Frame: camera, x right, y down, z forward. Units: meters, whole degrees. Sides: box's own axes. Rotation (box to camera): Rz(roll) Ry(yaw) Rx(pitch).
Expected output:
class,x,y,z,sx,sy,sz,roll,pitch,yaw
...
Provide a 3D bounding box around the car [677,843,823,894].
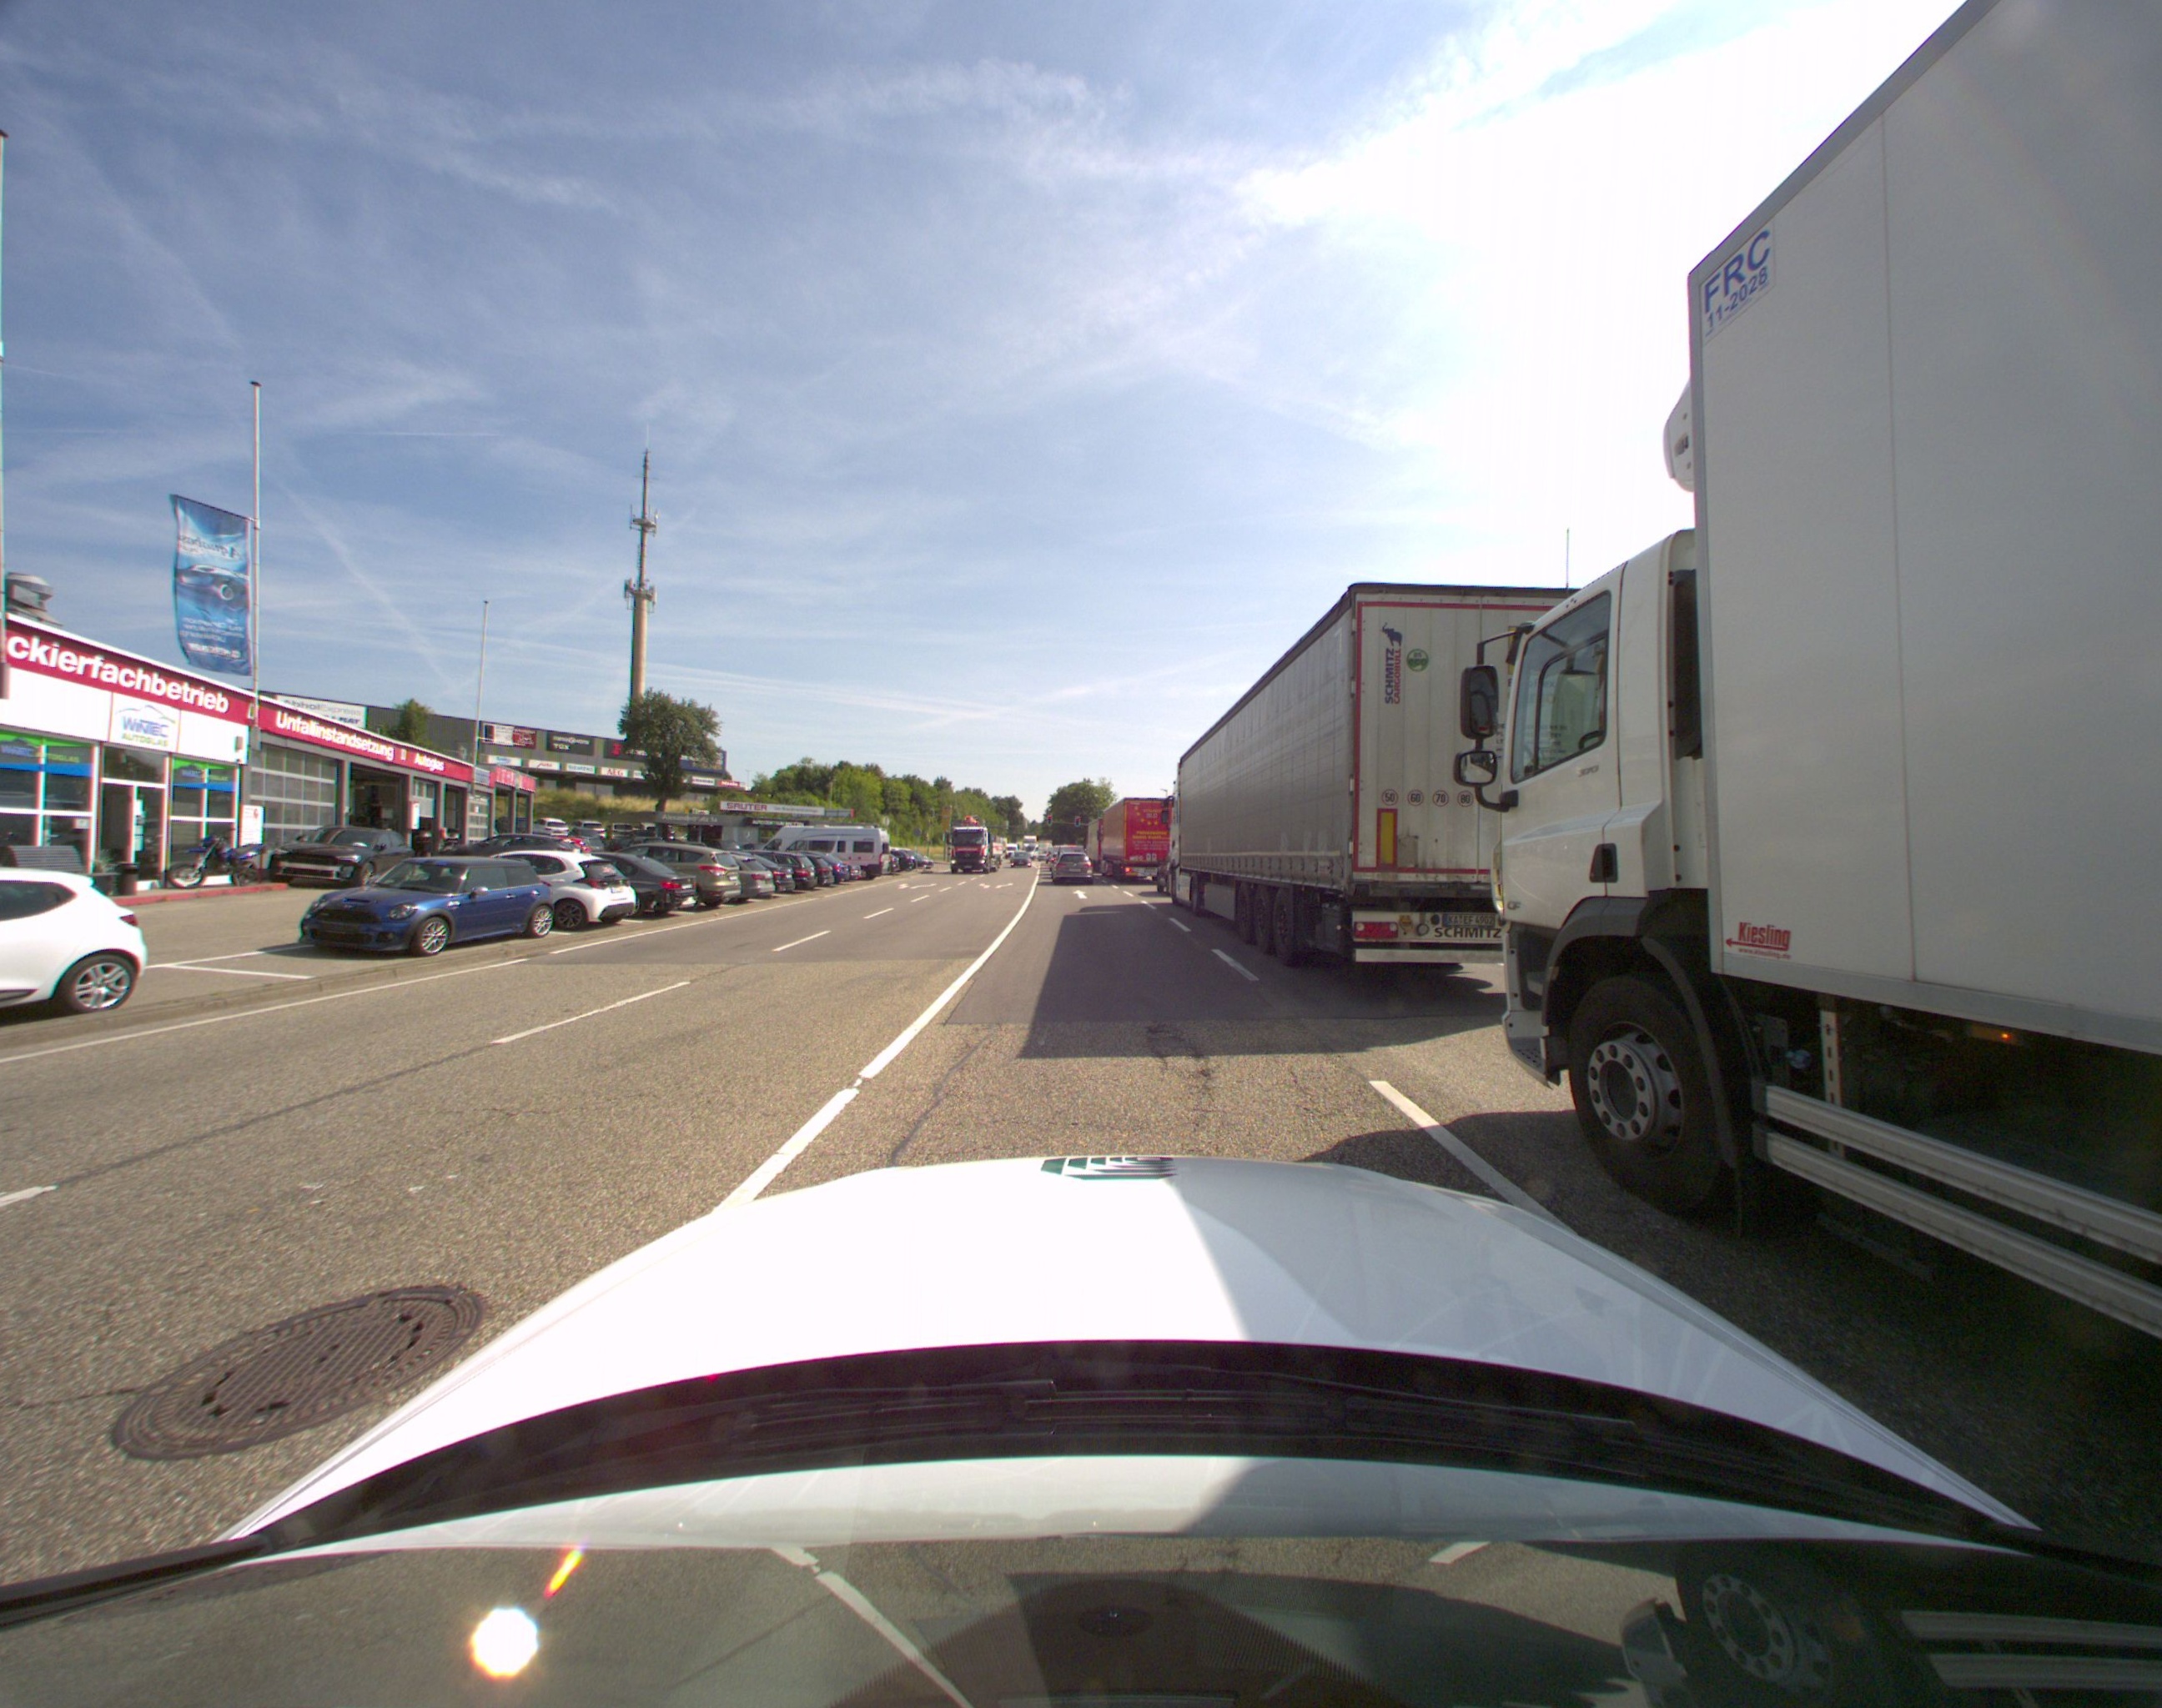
class,x,y,z,sx,sy,sz,roll,pitch,yaw
car,-11.941,0.524,29.596,4.450,1.484,1.769,4,0,-4

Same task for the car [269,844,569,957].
class,x,y,z,sx,sy,sz,roll,pitch,yaw
car,-10.685,0.670,13.571,1.773,1.494,3.781,4,0,0

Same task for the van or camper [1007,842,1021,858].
class,x,y,z,sx,sy,sz,roll,pitch,yaw
van or camper,-10.813,-0.706,131.900,2.168,2.551,4.166,1,0,-3

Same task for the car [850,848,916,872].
class,x,y,z,sx,sy,sz,roll,pitch,yaw
car,-12.739,0.374,52.527,3.808,1.539,1.840,0,0,-4

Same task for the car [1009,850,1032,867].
class,x,y,z,sx,sy,sz,roll,pitch,yaw
car,-5.522,0.386,74.696,1.801,1.560,4.386,0,0,0

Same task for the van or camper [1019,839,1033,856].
class,x,y,z,sx,sy,sz,roll,pitch,yaw
van or camper,-9.722,-1.165,144.368,2.218,2.841,5.705,1,-1,-2

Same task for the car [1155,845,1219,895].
class,x,y,z,sx,sy,sz,roll,pitch,yaw
car,3.764,0.531,29.567,1.813,1.685,3.999,0,0,0

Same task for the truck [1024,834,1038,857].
class,x,y,z,sx,sy,sz,roll,pitch,yaw
truck,-9.700,-1.699,157.760,2.546,4.307,7.589,-1,0,-2

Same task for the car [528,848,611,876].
class,x,y,z,sx,sy,sz,roll,pitch,yaw
car,-29.988,0.466,47.822,3.798,1.588,1.772,0,0,5

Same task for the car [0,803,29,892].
class,x,y,z,sx,sy,sz,roll,pitch,yaw
car,-21.445,-0.160,14.532,1.708,1.759,3.729,4,-1,-27

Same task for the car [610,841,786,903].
class,x,y,z,sx,sy,sz,roll,pitch,yaw
car,-11.328,0.510,24.336,4.269,1.484,1.833,4,0,-4

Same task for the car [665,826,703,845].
class,x,y,z,sx,sy,sz,roll,pitch,yaw
car,-32.469,-1.485,66.567,1.746,1.450,3.703,2,-1,-43

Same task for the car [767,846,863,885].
class,x,y,z,sx,sy,sz,roll,pitch,yaw
car,-11.997,0.519,36.928,3.700,1.484,1.705,4,0,-4

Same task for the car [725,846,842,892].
class,x,y,z,sx,sy,sz,roll,pitch,yaw
car,-11.577,0.574,31.871,3.837,1.484,1.799,4,0,-4

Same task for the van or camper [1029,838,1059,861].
class,x,y,z,sx,sy,sz,roll,pitch,yaw
van or camper,-5.416,-0.624,119.589,2.188,3.056,5.932,-2,-2,21

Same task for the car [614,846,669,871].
class,x,y,z,sx,sy,sz,roll,pitch,yaw
car,-28.797,0.250,53.360,3.780,1.588,1.780,0,0,38

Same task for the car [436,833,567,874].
class,x,y,z,sx,sy,sz,roll,pitch,yaw
car,-22.850,-0.034,32.312,3.957,1.532,1.754,0,0,-26

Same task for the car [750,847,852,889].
class,x,y,z,sx,sy,sz,roll,pitch,yaw
car,-11.787,0.568,34.464,3.700,1.555,1.705,2,1,-4

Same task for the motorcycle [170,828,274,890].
class,x,y,z,sx,sy,sz,roll,pitch,yaw
motorcycle,-18.726,0.103,17.816,0.773,1.261,2.040,0,0,-22

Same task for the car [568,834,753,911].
class,x,y,z,sx,sy,sz,roll,pitch,yaw
car,-11.140,0.474,21.811,3.878,1.716,1.804,4,0,-4

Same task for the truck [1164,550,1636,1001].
class,x,y,z,sx,sy,sz,roll,pitch,yaw
truck,3.895,-0.760,16.091,2.880,4.266,16.708,0,0,0

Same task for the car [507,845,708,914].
class,x,y,z,sx,sy,sz,roll,pitch,yaw
car,-11.156,0.568,19.424,3.700,1.525,1.790,0,0,-4

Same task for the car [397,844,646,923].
class,x,y,z,sx,sy,sz,roll,pitch,yaw
car,-11.398,0.564,16.817,3.788,1.525,1.844,0,0,-4

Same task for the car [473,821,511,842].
class,x,y,z,sx,sy,sz,roll,pitch,yaw
car,-42.821,-1.618,59.155,1.746,1.450,3.703,2,-1,-43

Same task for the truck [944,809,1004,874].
class,x,y,z,sx,sy,sz,roll,pitch,yaw
truck,-7.490,-0.854,58.374,2.947,4.209,10.642,-1,0,-1

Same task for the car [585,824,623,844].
class,x,y,z,sx,sy,sz,roll,pitch,yaw
car,-37.492,-1.576,63.943,1.746,1.450,3.703,2,-1,-43

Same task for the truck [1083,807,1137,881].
class,x,y,z,sx,sy,sz,roll,pitch,yaw
truck,2.038,-0.743,65.864,3.055,5.220,16.992,1,0,-2

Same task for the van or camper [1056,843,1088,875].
class,x,y,z,sx,sy,sz,roll,pitch,yaw
van or camper,-0.617,0.312,51.442,1.848,1.905,3.781,1,0,-3

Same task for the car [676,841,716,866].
class,x,y,z,sx,sy,sz,roll,pitch,yaw
car,-25.800,-0.060,54.539,1.776,1.588,3.788,0,0,-35

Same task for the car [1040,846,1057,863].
class,x,y,z,sx,sy,sz,roll,pitch,yaw
car,-3.635,0.047,92.098,1.721,1.909,3.312,1,-1,1

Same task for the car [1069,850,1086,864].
class,x,y,z,sx,sy,sz,roll,pitch,yaw
car,-0.403,0.310,90.524,1.723,1.519,3.308,1,-1,-3

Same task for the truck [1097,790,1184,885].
class,x,y,z,sx,sy,sz,roll,pitch,yaw
truck,2.865,-0.783,45.251,2.950,4.269,16.569,1,0,-2

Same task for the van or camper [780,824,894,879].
class,x,y,z,sx,sy,sz,roll,pitch,yaw
van or camper,-12.649,-0.148,42.528,5.230,2.731,2.209,1,0,-2

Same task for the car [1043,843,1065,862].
class,x,y,z,sx,sy,sz,roll,pitch,yaw
car,-2.266,-0.114,69.438,1.721,1.519,3.312,1,-1,0

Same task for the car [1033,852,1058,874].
class,x,y,z,sx,sy,sz,roll,pitch,yaw
car,-2.616,0.667,60.835,1.721,1.519,3.311,1,-1,0

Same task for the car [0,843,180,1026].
class,x,y,z,sx,sy,sz,roll,pitch,yaw
car,-10.490,0.710,6.646,1.773,1.618,3.999,1,0,0

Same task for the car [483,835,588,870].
class,x,y,z,sx,sy,sz,roll,pitch,yaw
car,-25.328,-0.072,37.955,3.836,1.588,1.754,0,0,-26

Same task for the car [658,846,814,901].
class,x,y,z,sx,sy,sz,roll,pitch,yaw
car,-11.338,0.622,27.019,4.290,1.484,1.796,4,0,-4

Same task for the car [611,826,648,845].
class,x,y,z,sx,sy,sz,roll,pitch,yaw
car,-36.242,-1.455,65.306,1.746,1.450,3.703,2,-1,-43

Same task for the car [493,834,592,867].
class,x,y,z,sx,sy,sz,roll,pitch,yaw
car,-26.532,-0.178,40.287,3.836,1.588,1.754,0,0,-26

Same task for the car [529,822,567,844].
class,x,y,z,sx,sy,sz,roll,pitch,yaw
car,-40.512,-1.557,61.837,1.746,1.537,3.703,2,-1,-43

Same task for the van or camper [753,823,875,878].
class,x,y,z,sx,sy,sz,roll,pitch,yaw
van or camper,-14.618,-0.209,44.873,5.877,2.873,2.288,1,1,-3

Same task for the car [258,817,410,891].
class,x,y,z,sx,sy,sz,roll,pitch,yaw
car,-19.960,0.037,21.997,1.831,1.675,4.091,6,-4,-27

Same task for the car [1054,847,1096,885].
class,x,y,z,sx,sy,sz,roll,pitch,yaw
car,-0.227,0.537,36.895,1.784,1.638,3.504,0,0,1

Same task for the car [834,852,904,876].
class,x,y,z,sx,sy,sz,roll,pitch,yaw
car,-12.830,0.586,49.522,3.808,1.448,1.840,0,0,-4
